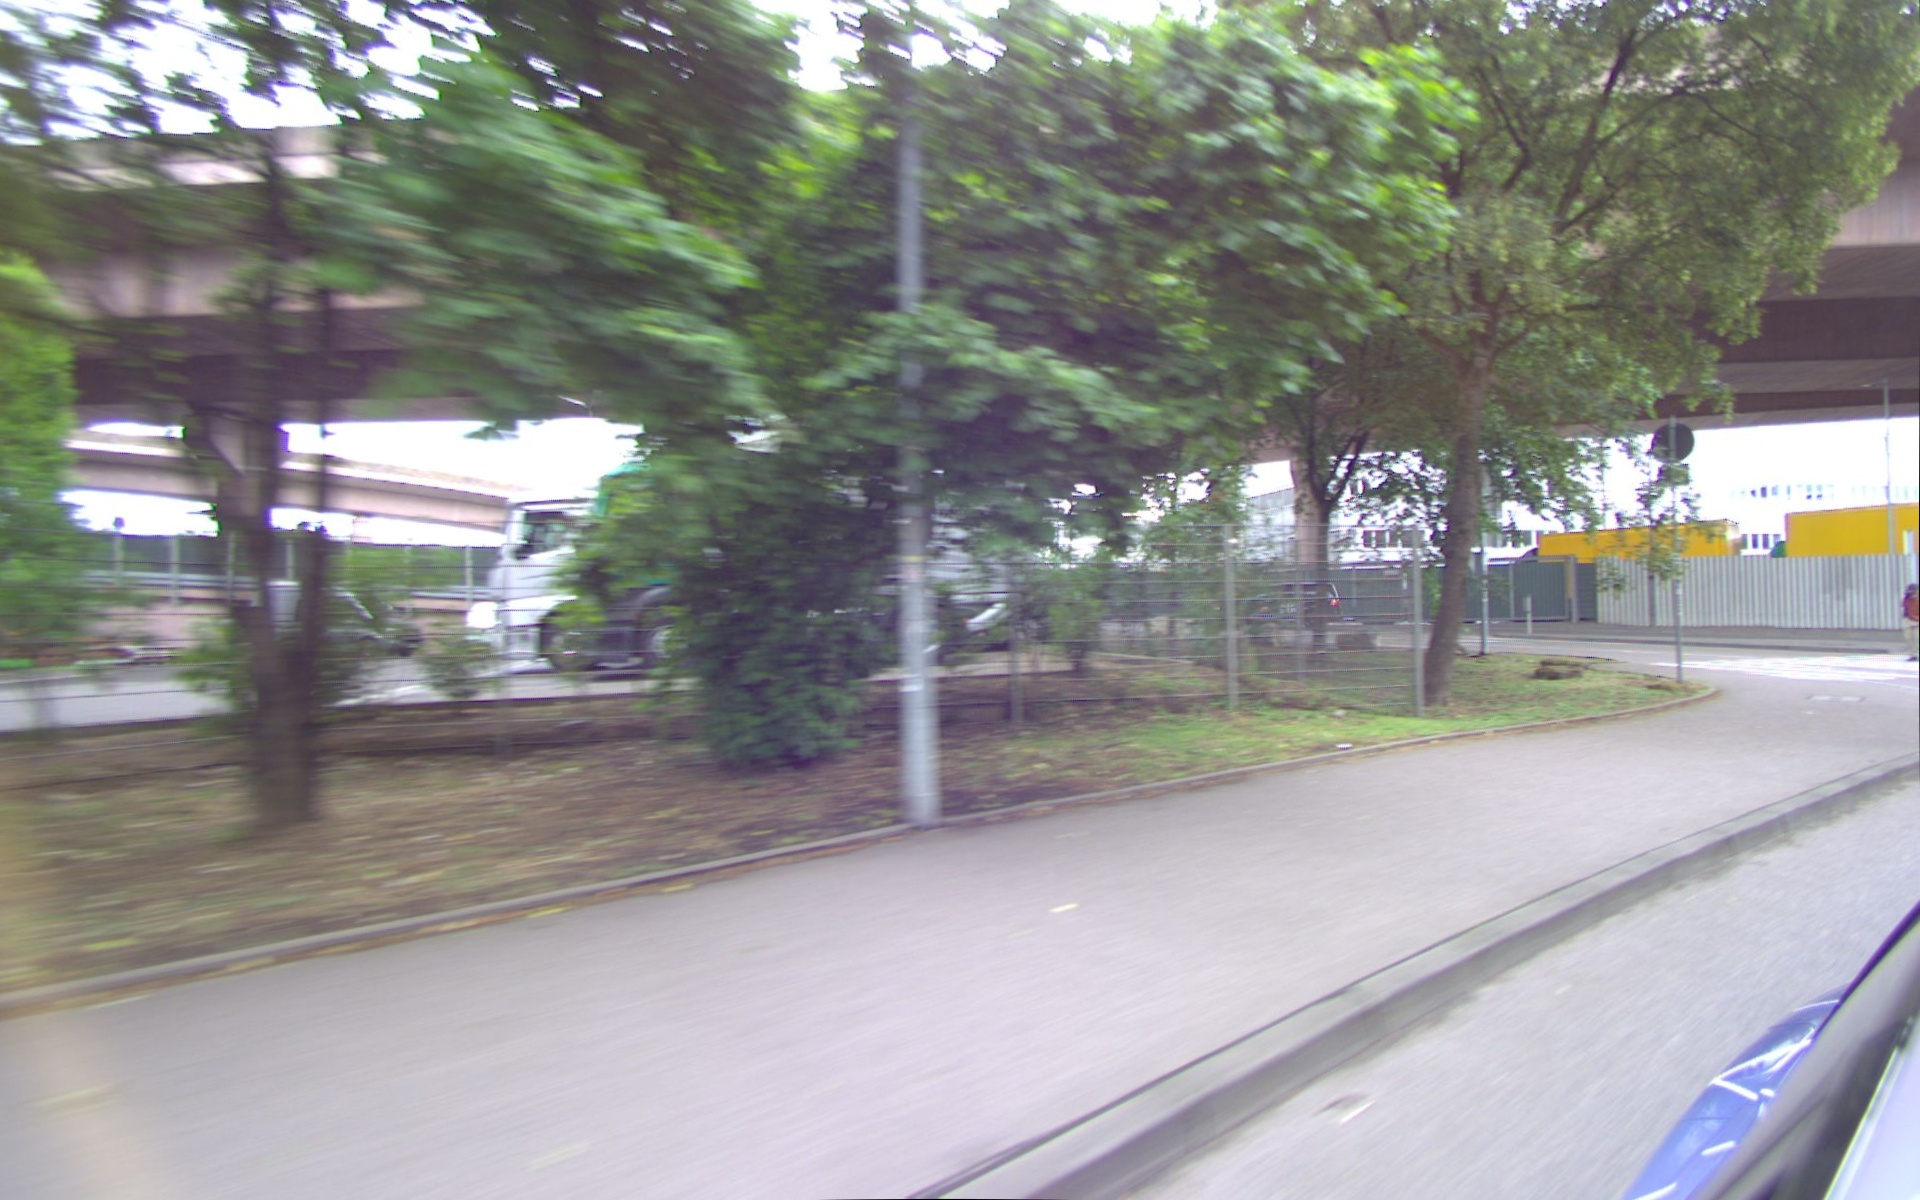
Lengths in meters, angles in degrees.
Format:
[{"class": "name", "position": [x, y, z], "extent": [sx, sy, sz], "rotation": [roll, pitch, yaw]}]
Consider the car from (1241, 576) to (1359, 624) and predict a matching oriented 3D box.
[{"class": "car", "position": [12.714, -0.044, 37.855], "extent": [3.964, 1.654, 1.783], "rotation": [2, 2, 28]}]

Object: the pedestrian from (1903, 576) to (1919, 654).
[{"class": "pedestrian", "position": [21.175, 0.324, 22.062], "extent": [0.839, 1.702, 0.754], "rotation": [0, 0, -37]}]

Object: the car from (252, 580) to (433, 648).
[{"class": "car", "position": [-21.614, 0.516, 35.573], "extent": [5.073, 2.240, 2.333], "rotation": [-1, -2, 5]}]

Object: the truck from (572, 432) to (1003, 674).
[{"class": "truck", "position": [-2.647, -0.707, 16.095], "extent": [6.279, 3.451, 2.275], "rotation": [0, 0, -10]}]

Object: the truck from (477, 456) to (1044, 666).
[{"class": "truck", "position": [-3.529, -0.712, 19.327], "extent": [10.002, 3.542, 2.275], "rotation": [0, 0, -13]}]
